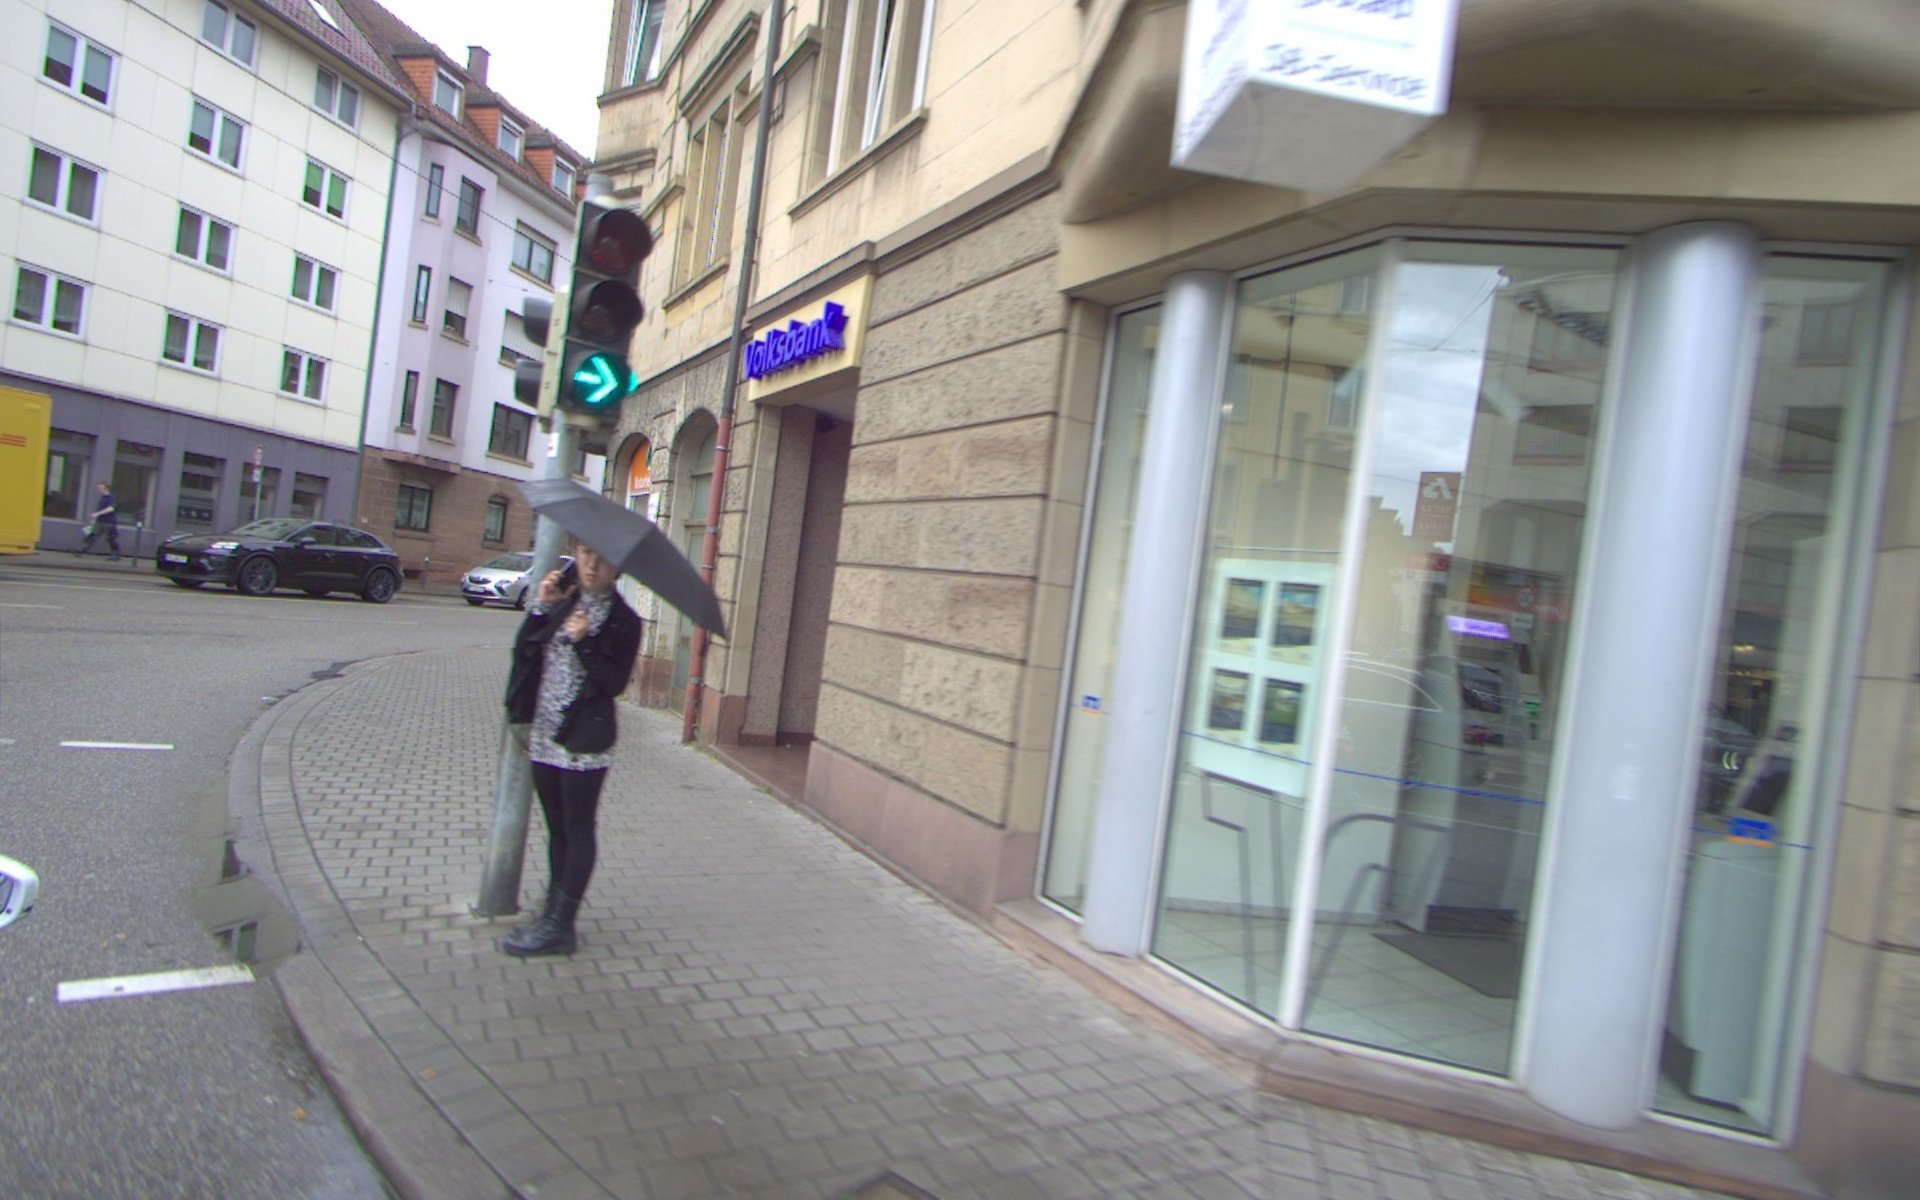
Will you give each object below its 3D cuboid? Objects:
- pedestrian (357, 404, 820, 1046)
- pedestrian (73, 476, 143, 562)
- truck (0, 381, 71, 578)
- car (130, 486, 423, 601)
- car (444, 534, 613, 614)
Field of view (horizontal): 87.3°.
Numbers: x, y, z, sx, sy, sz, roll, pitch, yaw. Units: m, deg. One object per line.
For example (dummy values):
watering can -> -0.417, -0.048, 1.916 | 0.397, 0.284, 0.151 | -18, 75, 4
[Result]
pedestrian -> -1.363, 0.379, 3.729 | 1.010, 1.927, 1.056 | 8, 0, 40
pedestrian -> -19.524, -1.849, 23.062 | 0.748, 1.813, 0.793 | 7, 0, 14
truck -> -15.982, -2.052, 12.653 | 2.043, 2.885, 7.119 | 7, -1, 13
car -> -13.838, -1.043, 20.814 | 1.962, 1.705, 4.829 | 7, -1, 14
car -> -12.032, -0.659, 28.440 | 1.913, 1.705, 4.415 | 7, -1, 15
